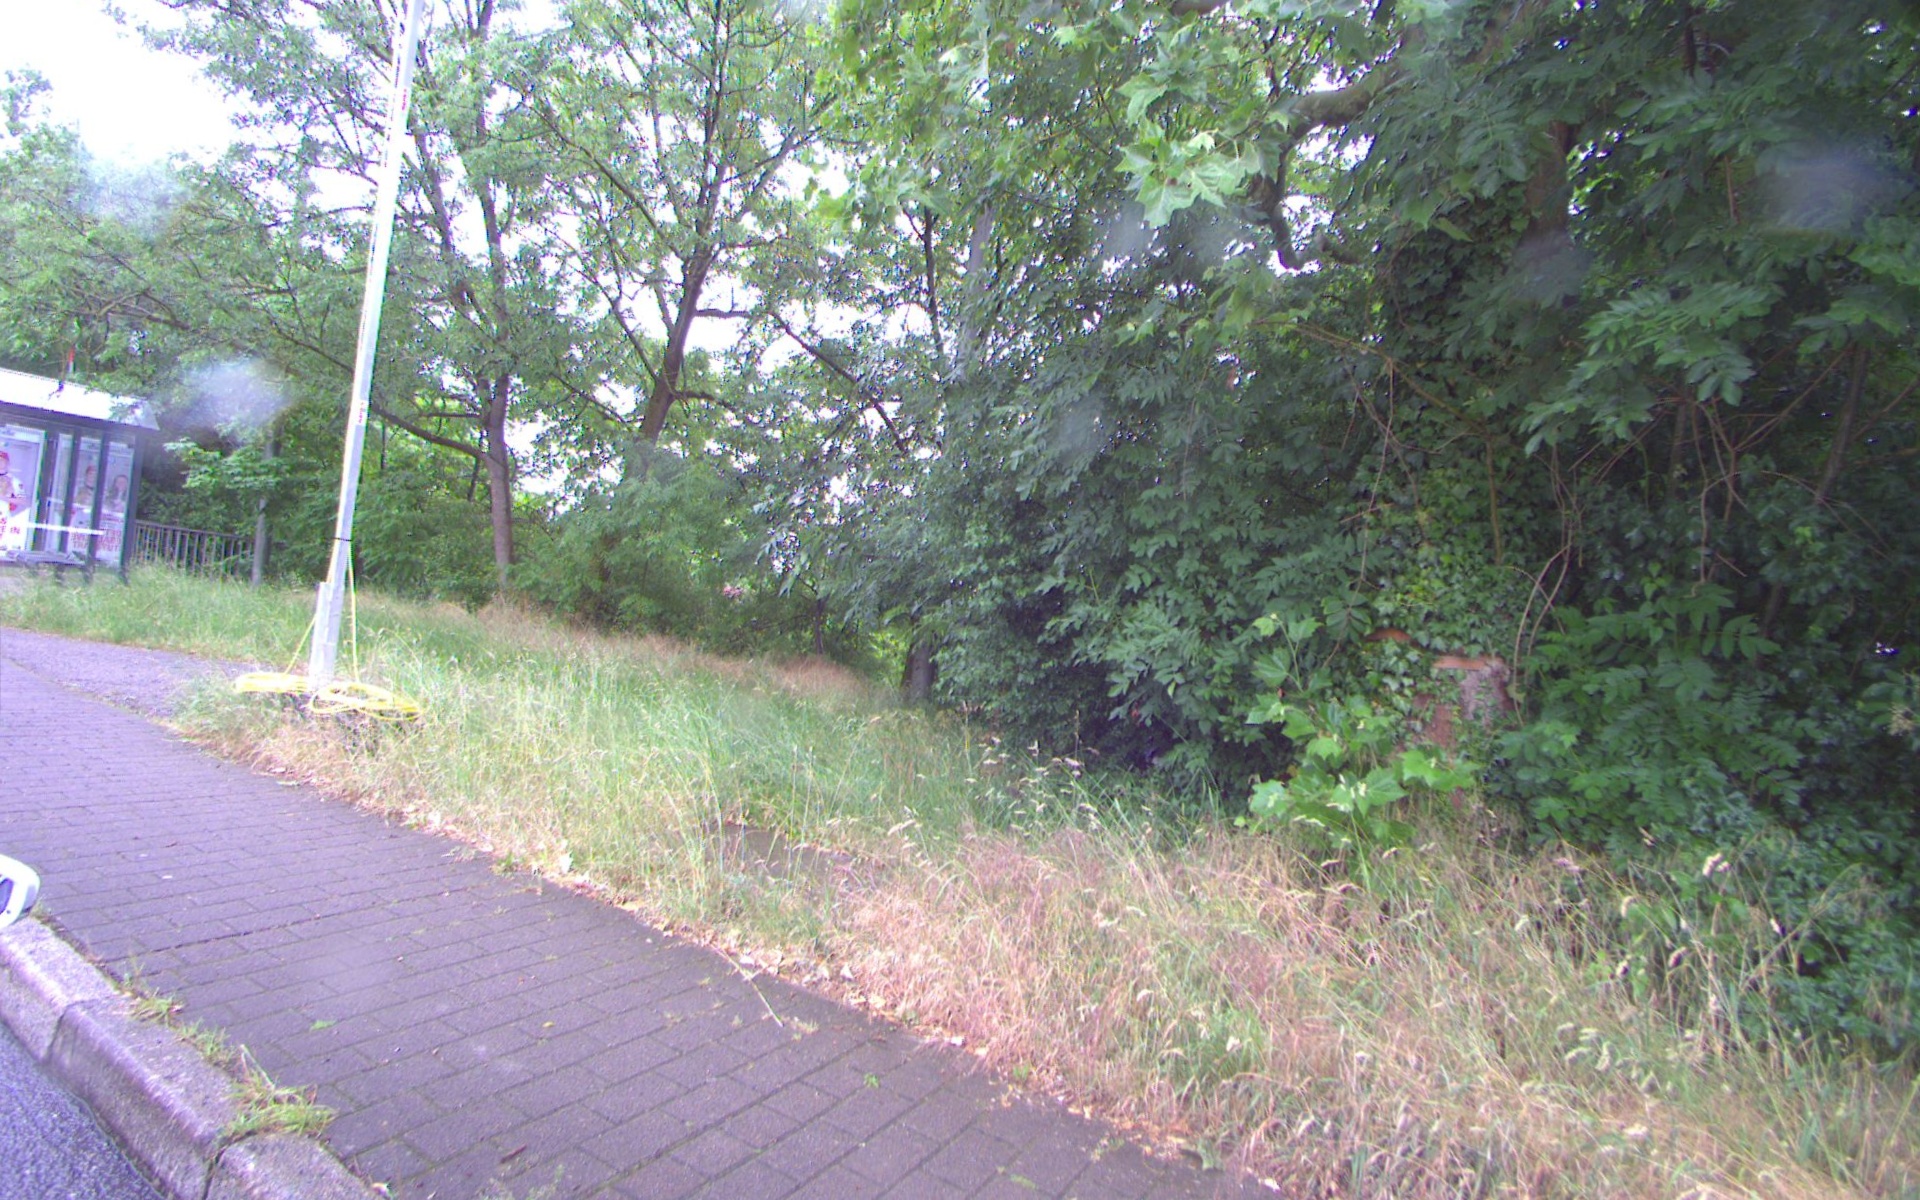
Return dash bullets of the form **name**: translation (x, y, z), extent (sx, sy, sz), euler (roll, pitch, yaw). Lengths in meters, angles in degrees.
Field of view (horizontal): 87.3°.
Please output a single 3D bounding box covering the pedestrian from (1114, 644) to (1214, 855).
- **pedestrian**: translation (1.863, 1.320, 9.152), extent (0.655, 1.761, 0.685), euler (7, 0, 14)
